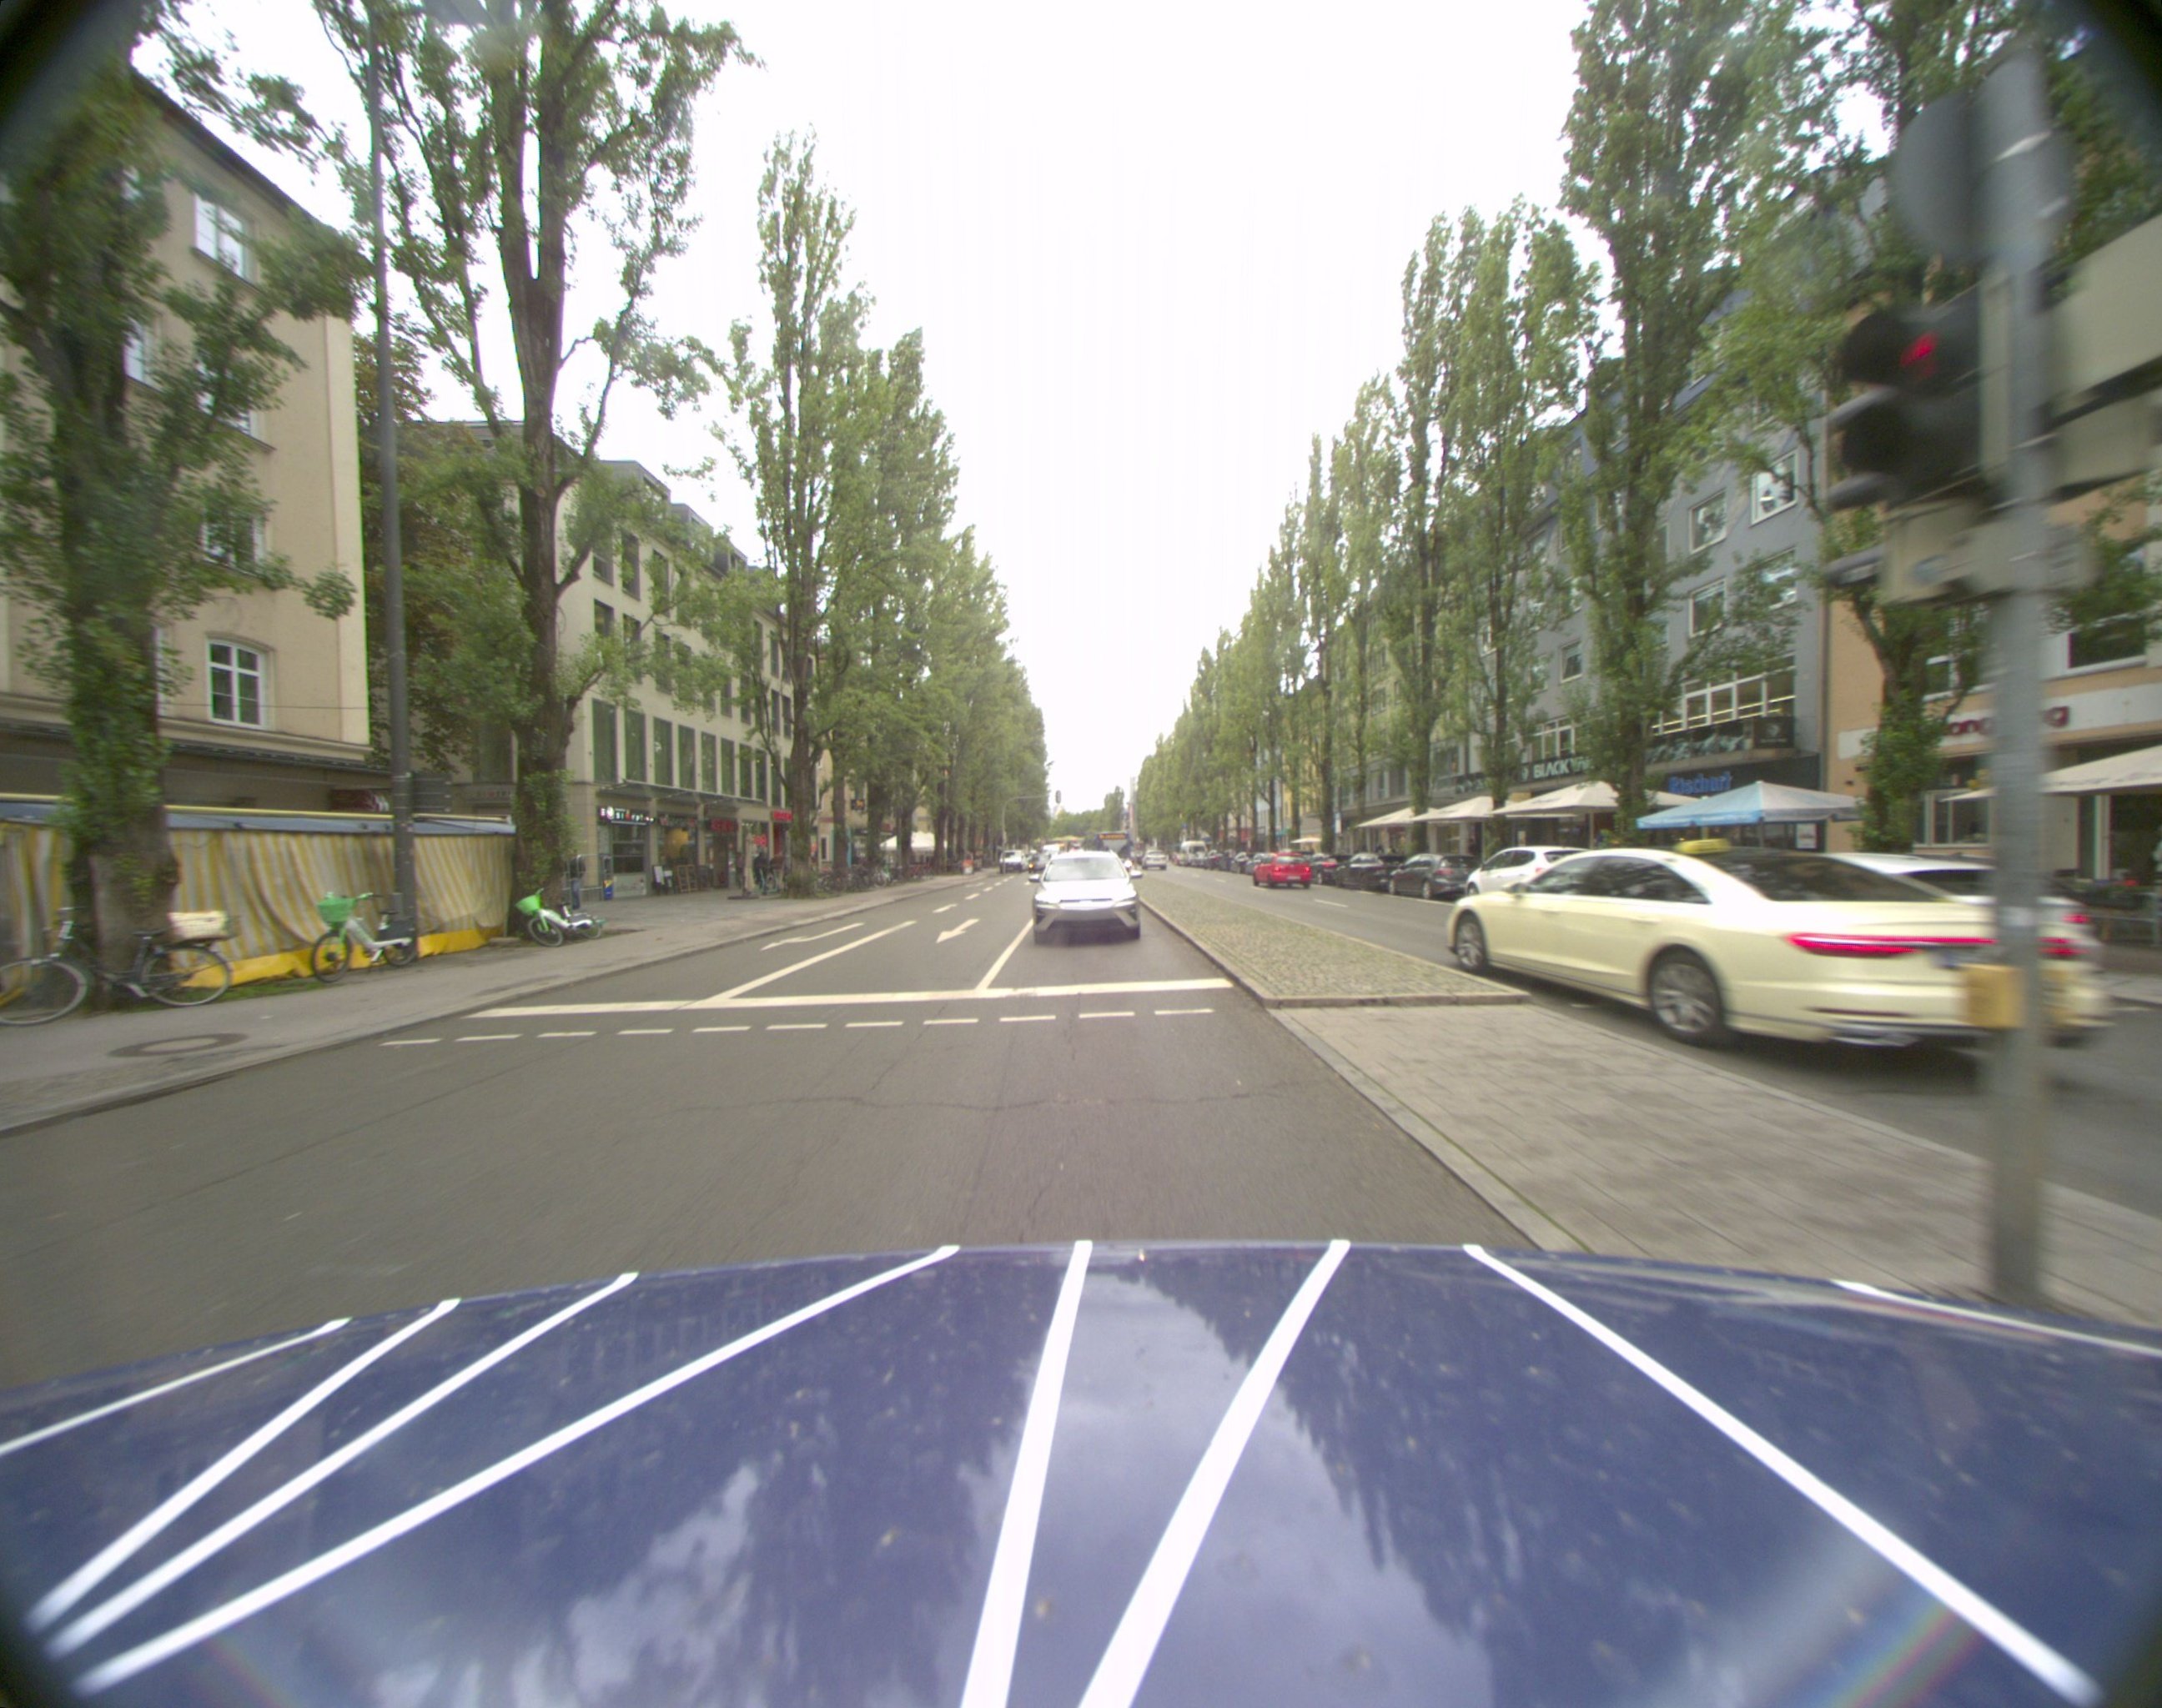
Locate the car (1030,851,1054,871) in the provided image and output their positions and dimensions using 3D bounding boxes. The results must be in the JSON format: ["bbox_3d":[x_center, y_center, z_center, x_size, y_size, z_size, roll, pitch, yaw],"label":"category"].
[{"bbox_3d":[-3.177,0.539,62.723,1.758,1.529,3.916,-2,1,0],"label":"car"}]

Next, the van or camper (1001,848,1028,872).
[{"bbox_3d":[-5.628,0.472,65.104,1.795,1.894,4.565,-2,1,1],"label":"van or camper"}]

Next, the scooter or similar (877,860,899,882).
[{"bbox_3d":[-10.963,0.976,43.193,0.306,1.163,1.246,-1,2,39],"label":"scooter or similar"}]

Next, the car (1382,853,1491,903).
[{"bbox_3d":[11.150,0.704,24.149,1.497,1.374,4.186,0,1,0],"label":"car"}]

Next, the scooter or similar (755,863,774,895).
[{"bbox_3d":[-13.055,1.025,31.356,0.331,1.266,1.036,-1,1,0],"label":"scooter or similar"}]

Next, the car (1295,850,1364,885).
[{"bbox_3d":[11.243,0.571,34.674,1.681,1.458,4.369,0,1,0],"label":"car"}]

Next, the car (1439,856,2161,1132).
[{"bbox_3d":[5.293,0.796,6.771,1.848,1.493,4.985,0,1,0],"label":"car"}]

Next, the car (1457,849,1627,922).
[{"bbox_3d":[11.156,0.676,18.766,1.707,1.574,4.095,0,1,0],"label":"car"}]

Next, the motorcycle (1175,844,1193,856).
[{"bbox_3d":[12.368,-0.524,91.432,2.023,1.413,0.570,-1,1,-7],"label":"motorcycle"}]

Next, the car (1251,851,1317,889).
[{"bbox_3d":[8.352,0.633,31.582,1.741,1.429,3.823,0,1,0],"label":"car"}]

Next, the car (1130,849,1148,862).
[{"bbox_3d":[6.669,0.161,87.822,1.841,1.353,4.176,1,1,0],"label":"car"}]

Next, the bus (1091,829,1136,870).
[{"bbox_3d":[2.393,-0.395,60.883,2.806,2.886,12.854,-1,0,-1],"label":"bus"}]

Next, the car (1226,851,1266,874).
[{"bbox_3d":[11.155,0.551,51.539,1.707,1.438,4.584,-1,1,0],"label":"car"}]

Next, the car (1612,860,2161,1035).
[{"bbox_3d":[8.698,0.816,8.809,1.827,1.400,4.631,0,1,0],"label":"car"}]

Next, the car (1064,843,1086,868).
[{"bbox_3d":[-0.566,0.125,74.271,2.025,2.235,4.410,-2,1,0],"label":"car"}]

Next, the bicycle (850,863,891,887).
[{"bbox_3d":[-10.195,1.011,36.831,1.871,1.129,0.339,-1,1,-8],"label":"bicycle"}]

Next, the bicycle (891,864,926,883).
[{"bbox_3d":[-9.479,1.062,41.710,1.842,1.003,0.393,0,1,9],"label":"bicycle"}]

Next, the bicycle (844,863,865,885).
[{"bbox_3d":[-11.870,1.031,39.913,0.392,1.057,2.005,0,1,4],"label":"bicycle"}]

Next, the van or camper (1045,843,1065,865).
[{"bbox_3d":[-2.980,-0.048,88.038,1.998,2.470,6.643,-1,1,0],"label":"van or camper"}]

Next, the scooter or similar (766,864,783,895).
[{"bbox_3d":[-12.625,1.044,31.355,0.248,1.266,1.036,-1,1,0],"label":"scooter or similar"}]

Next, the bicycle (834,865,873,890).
[{"bbox_3d":[-10.551,1.078,35.266,1.679,1.111,0.286,-1,1,-12],"label":"bicycle"}]

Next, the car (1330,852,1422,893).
[{"bbox_3d":[11.221,0.653,29.216,1.707,1.404,4.432,0,1,-2],"label":"car"}]

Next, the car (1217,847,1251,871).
[{"bbox_3d":[11.509,0.326,57.378,1.622,1.677,3.770,1,1,-2],"label":"car"}]

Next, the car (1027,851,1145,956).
[{"bbox_3d":[0.068,0.768,13.855,1.758,1.529,3.916,-3,1,0],"label":"car"}]

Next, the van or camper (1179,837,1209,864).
[{"bbox_3d":[11.541,-0.374,77.982,2.131,2.536,6.643,-1,1,1],"label":"van or camper"}]

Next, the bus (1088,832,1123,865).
[{"bbox_3d":[2.225,-0.508,73.763,2.806,2.886,12.855,-1,0,0],"label":"bus"}]

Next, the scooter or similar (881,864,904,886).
[{"bbox_3d":[-10.656,1.188,42.971,0.285,1.163,1.246,-1,2,42],"label":"scooter or similar"}]

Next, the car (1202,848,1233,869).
[{"bbox_3d":[11.161,0.336,62.460,1.707,1.623,4.502,0,1,0],"label":"car"}]

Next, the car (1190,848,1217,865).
[{"bbox_3d":[11.413,0.233,71.170,1.707,1.520,4.259,0,1,-2],"label":"car"}]

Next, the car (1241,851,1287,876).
[{"bbox_3d":[11.178,0.540,46.631,1.662,1.409,4.399,0,1,-1],"label":"car"}]

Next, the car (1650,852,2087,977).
[{"bbox_3d":[11.186,0.729,11.423,1.707,1.430,4.588,0,1,-1],"label":"car"}]

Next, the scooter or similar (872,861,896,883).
[{"bbox_3d":[-10.540,0.963,40.682,1.241,1.163,0.404,0,2,29],"label":"scooter or similar"}]

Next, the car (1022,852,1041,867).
[{"bbox_3d":[-4.688,0.498,71.778,1.476,1.389,3.483,-1,1,1],"label":"car"}]

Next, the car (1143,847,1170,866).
[{"bbox_3d":[6.430,0.191,65.004,1.848,1.626,4.575,0,1,1],"label":"car"}]

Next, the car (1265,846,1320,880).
[{"bbox_3d":[11.323,0.439,40.932,1.784,1.671,4.585,0,1,1],"label":"car"}]
